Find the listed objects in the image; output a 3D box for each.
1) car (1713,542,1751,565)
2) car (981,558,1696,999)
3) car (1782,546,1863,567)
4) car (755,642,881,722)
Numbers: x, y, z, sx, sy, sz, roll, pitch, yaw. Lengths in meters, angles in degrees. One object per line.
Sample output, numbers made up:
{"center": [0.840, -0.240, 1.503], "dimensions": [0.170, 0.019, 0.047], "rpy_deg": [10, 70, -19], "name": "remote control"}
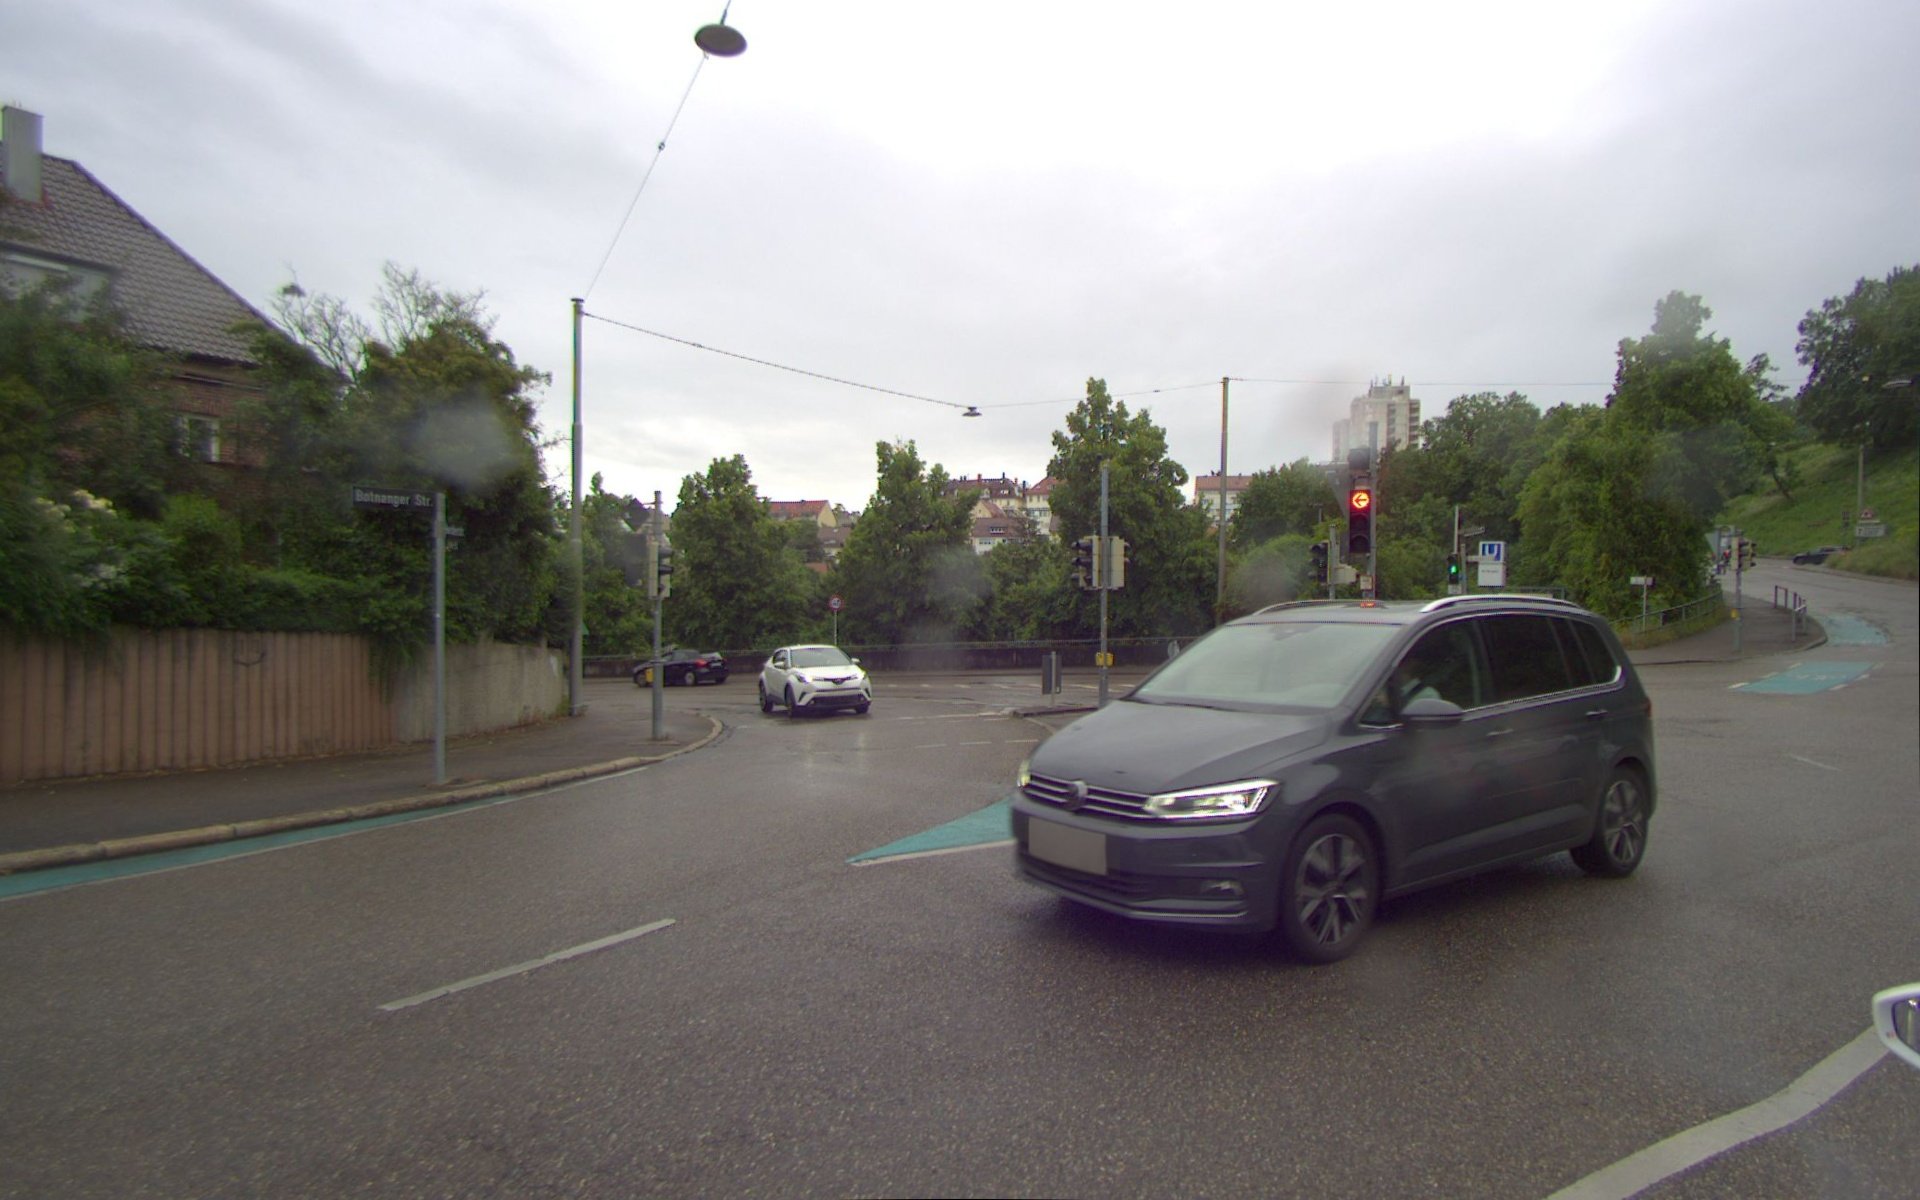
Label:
{"center": [63.242, -3.756, 82.349], "dimensions": [1.890, 1.804, 3.991], "rpy_deg": [1, 2, 30], "name": "car"}
{"center": [2.326, 0.763, 5.830], "dimensions": [4.129, 1.702, 1.838], "rpy_deg": [1, -3, -34], "name": "car"}
{"center": [66.310, -3.312, 77.339], "dimensions": [1.931, 1.532, 4.386], "rpy_deg": [-1, 2, -18], "name": "car"}
{"center": [-3.305, 1.826, 22.724], "dimensions": [1.811, 1.527, 3.864], "rpy_deg": [-3, -3, -23], "name": "car"}
